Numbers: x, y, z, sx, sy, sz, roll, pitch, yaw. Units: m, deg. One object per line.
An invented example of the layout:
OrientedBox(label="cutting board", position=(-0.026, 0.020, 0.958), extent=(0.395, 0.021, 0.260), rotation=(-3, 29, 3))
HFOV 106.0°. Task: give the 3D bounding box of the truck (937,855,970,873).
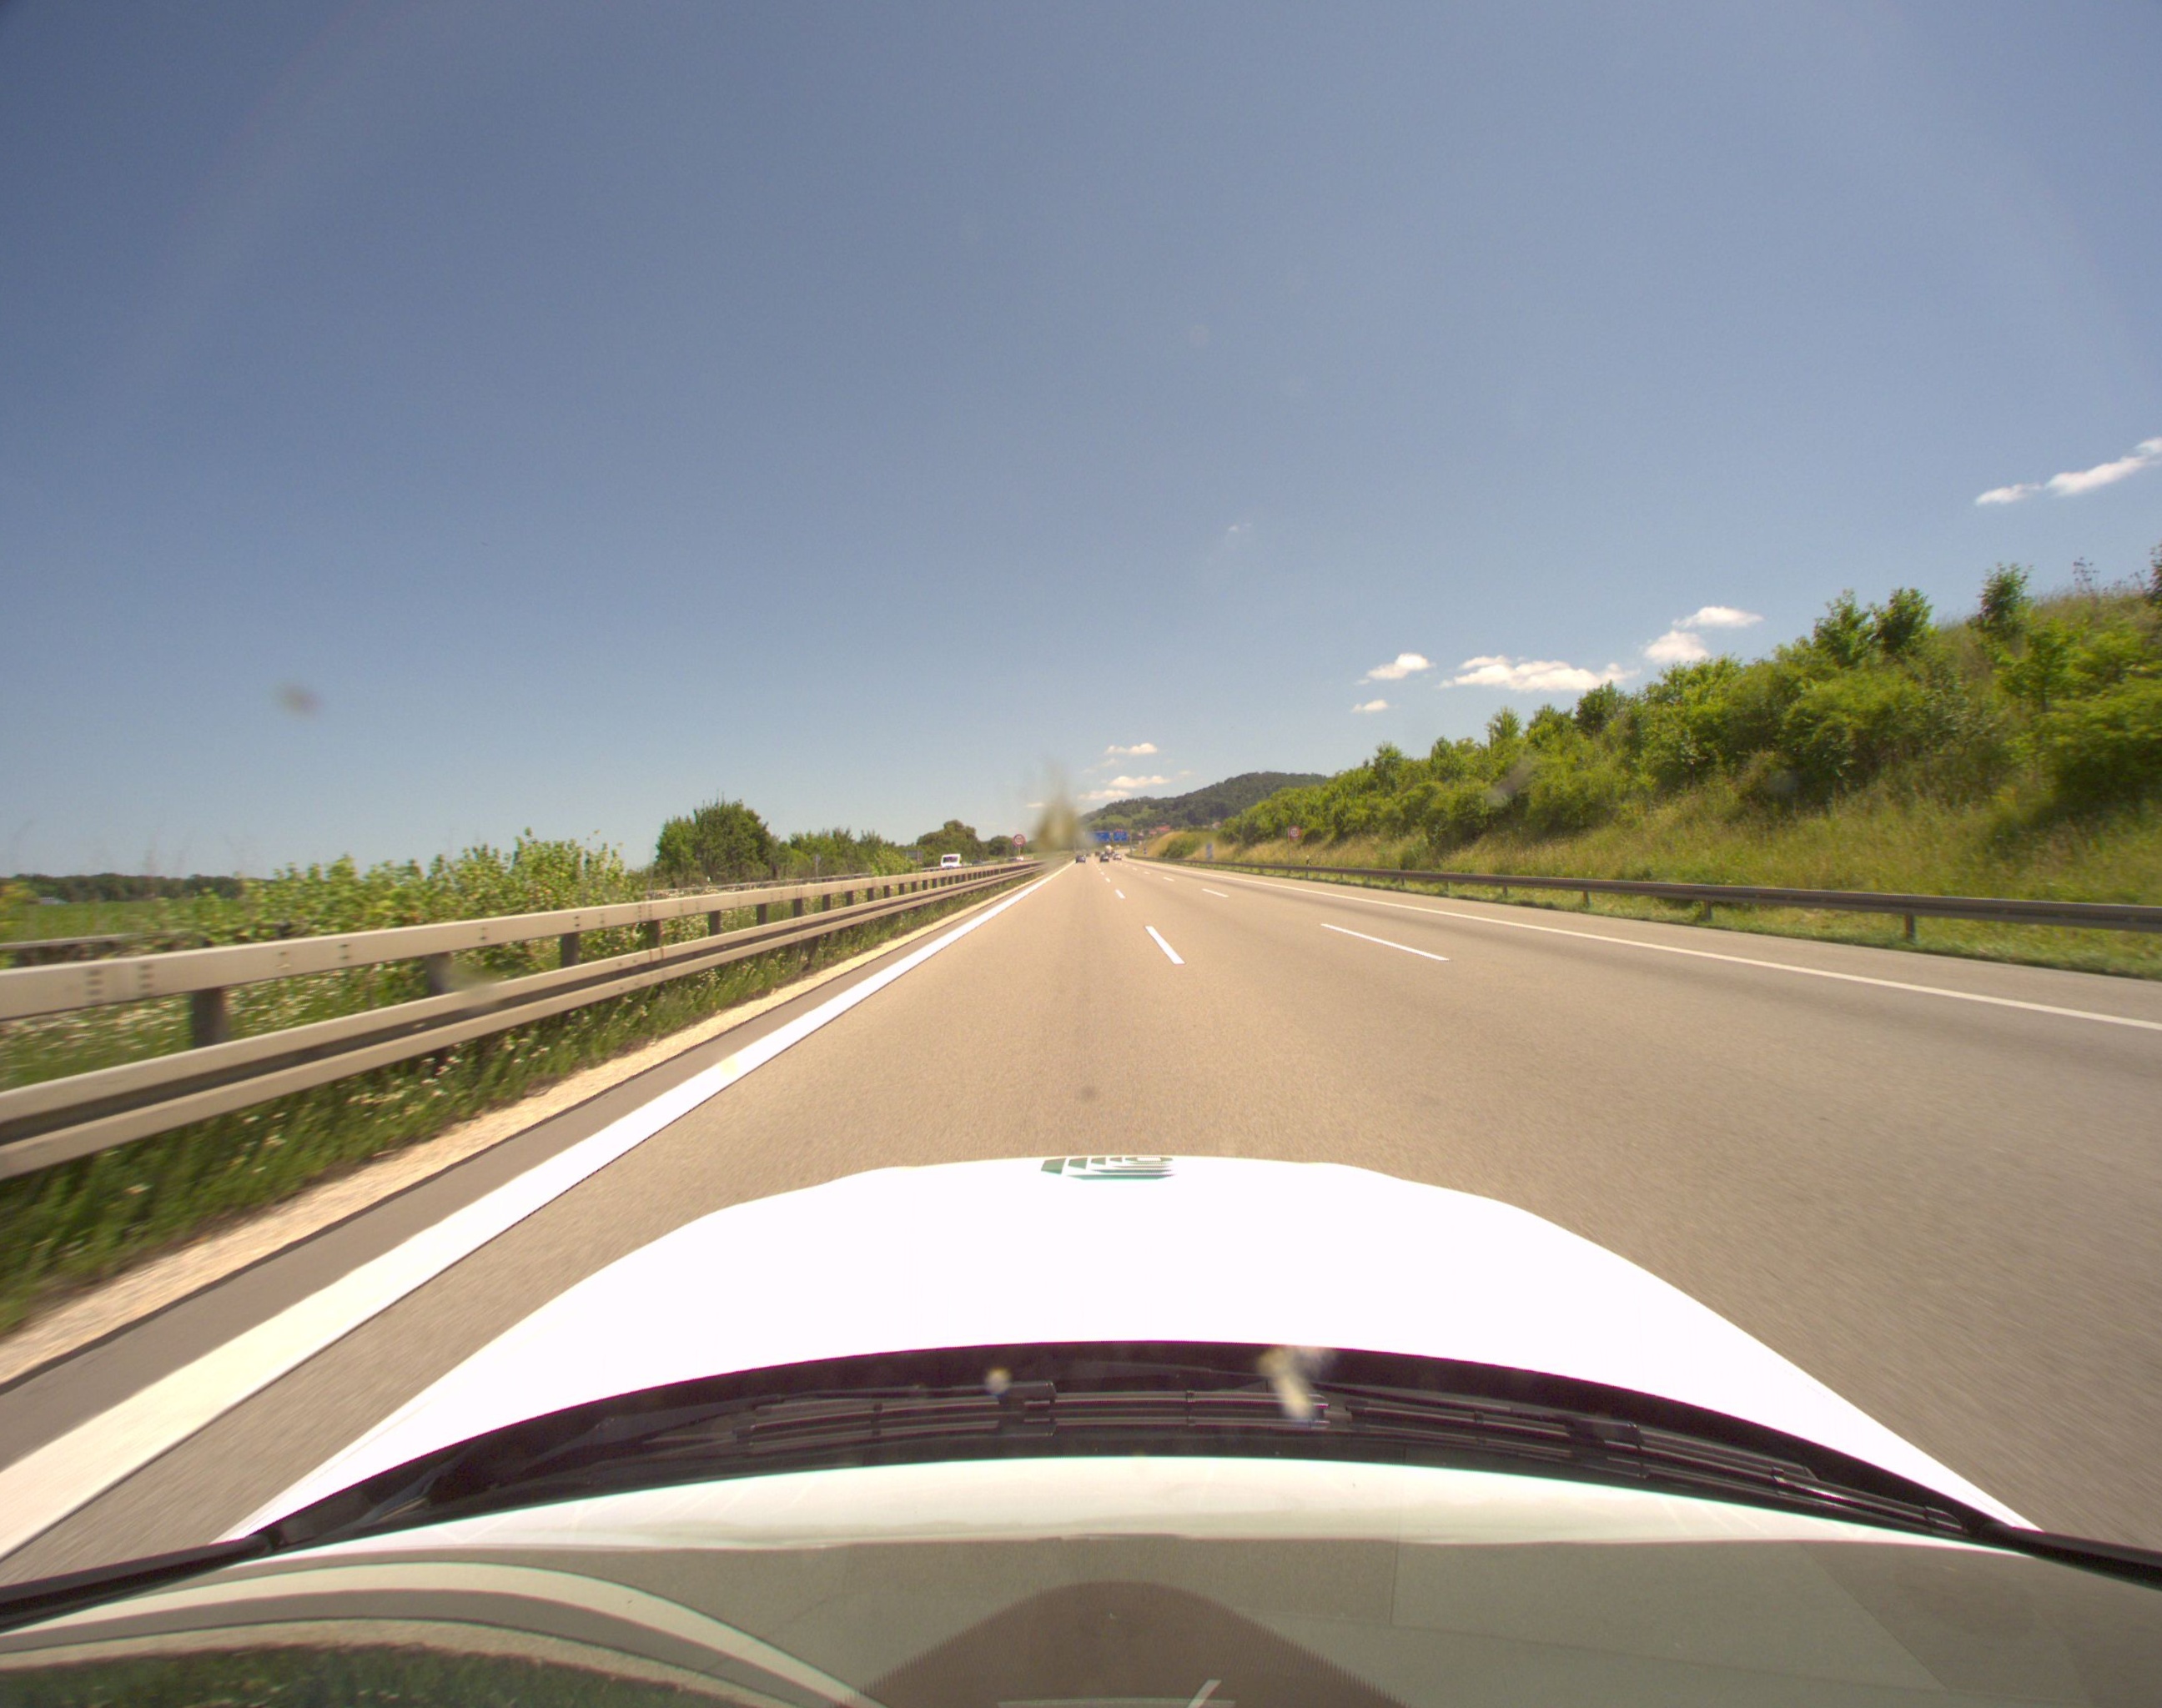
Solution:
OrientedBox(label="truck", position=(-13.380, 1.041, 85.971), extent=(2.420, 1.837, 5.728), rotation=(0, -1, 2))

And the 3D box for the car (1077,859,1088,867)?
OrientedBox(label="car", position=(0.269, 1.512, 142.836), extent=(1.986, 1.389, 4.000), rotation=(0, -1, 1))

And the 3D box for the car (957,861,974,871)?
OrientedBox(label="car", position=(-15.682, 1.612, 110.894), extent=(1.734, 1.263, 3.679), rotation=(0, -1, 2))

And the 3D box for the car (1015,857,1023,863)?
OrientedBox(label="car", position=(-17.448, 1.778, 229.661), extent=(1.879, 1.540, 4.001), rotation=(0, -1, 1))

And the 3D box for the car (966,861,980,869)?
OrientedBox(label="car", position=(-17.844, 1.818, 134.178), extent=(1.709, 1.263, 3.734), rotation=(0, -1, 2))

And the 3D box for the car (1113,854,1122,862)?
OrientedBox(label="car", position=(8.428, 0.918, 188.496), extent=(1.986, 1.818, 4.001), rotation=(-3, 0, 1))

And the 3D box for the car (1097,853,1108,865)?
OrientedBox(label="car", position=(3.886, 0.881, 146.035), extent=(1.986, 2.014, 4.000), rotation=(0, -1, 1))
